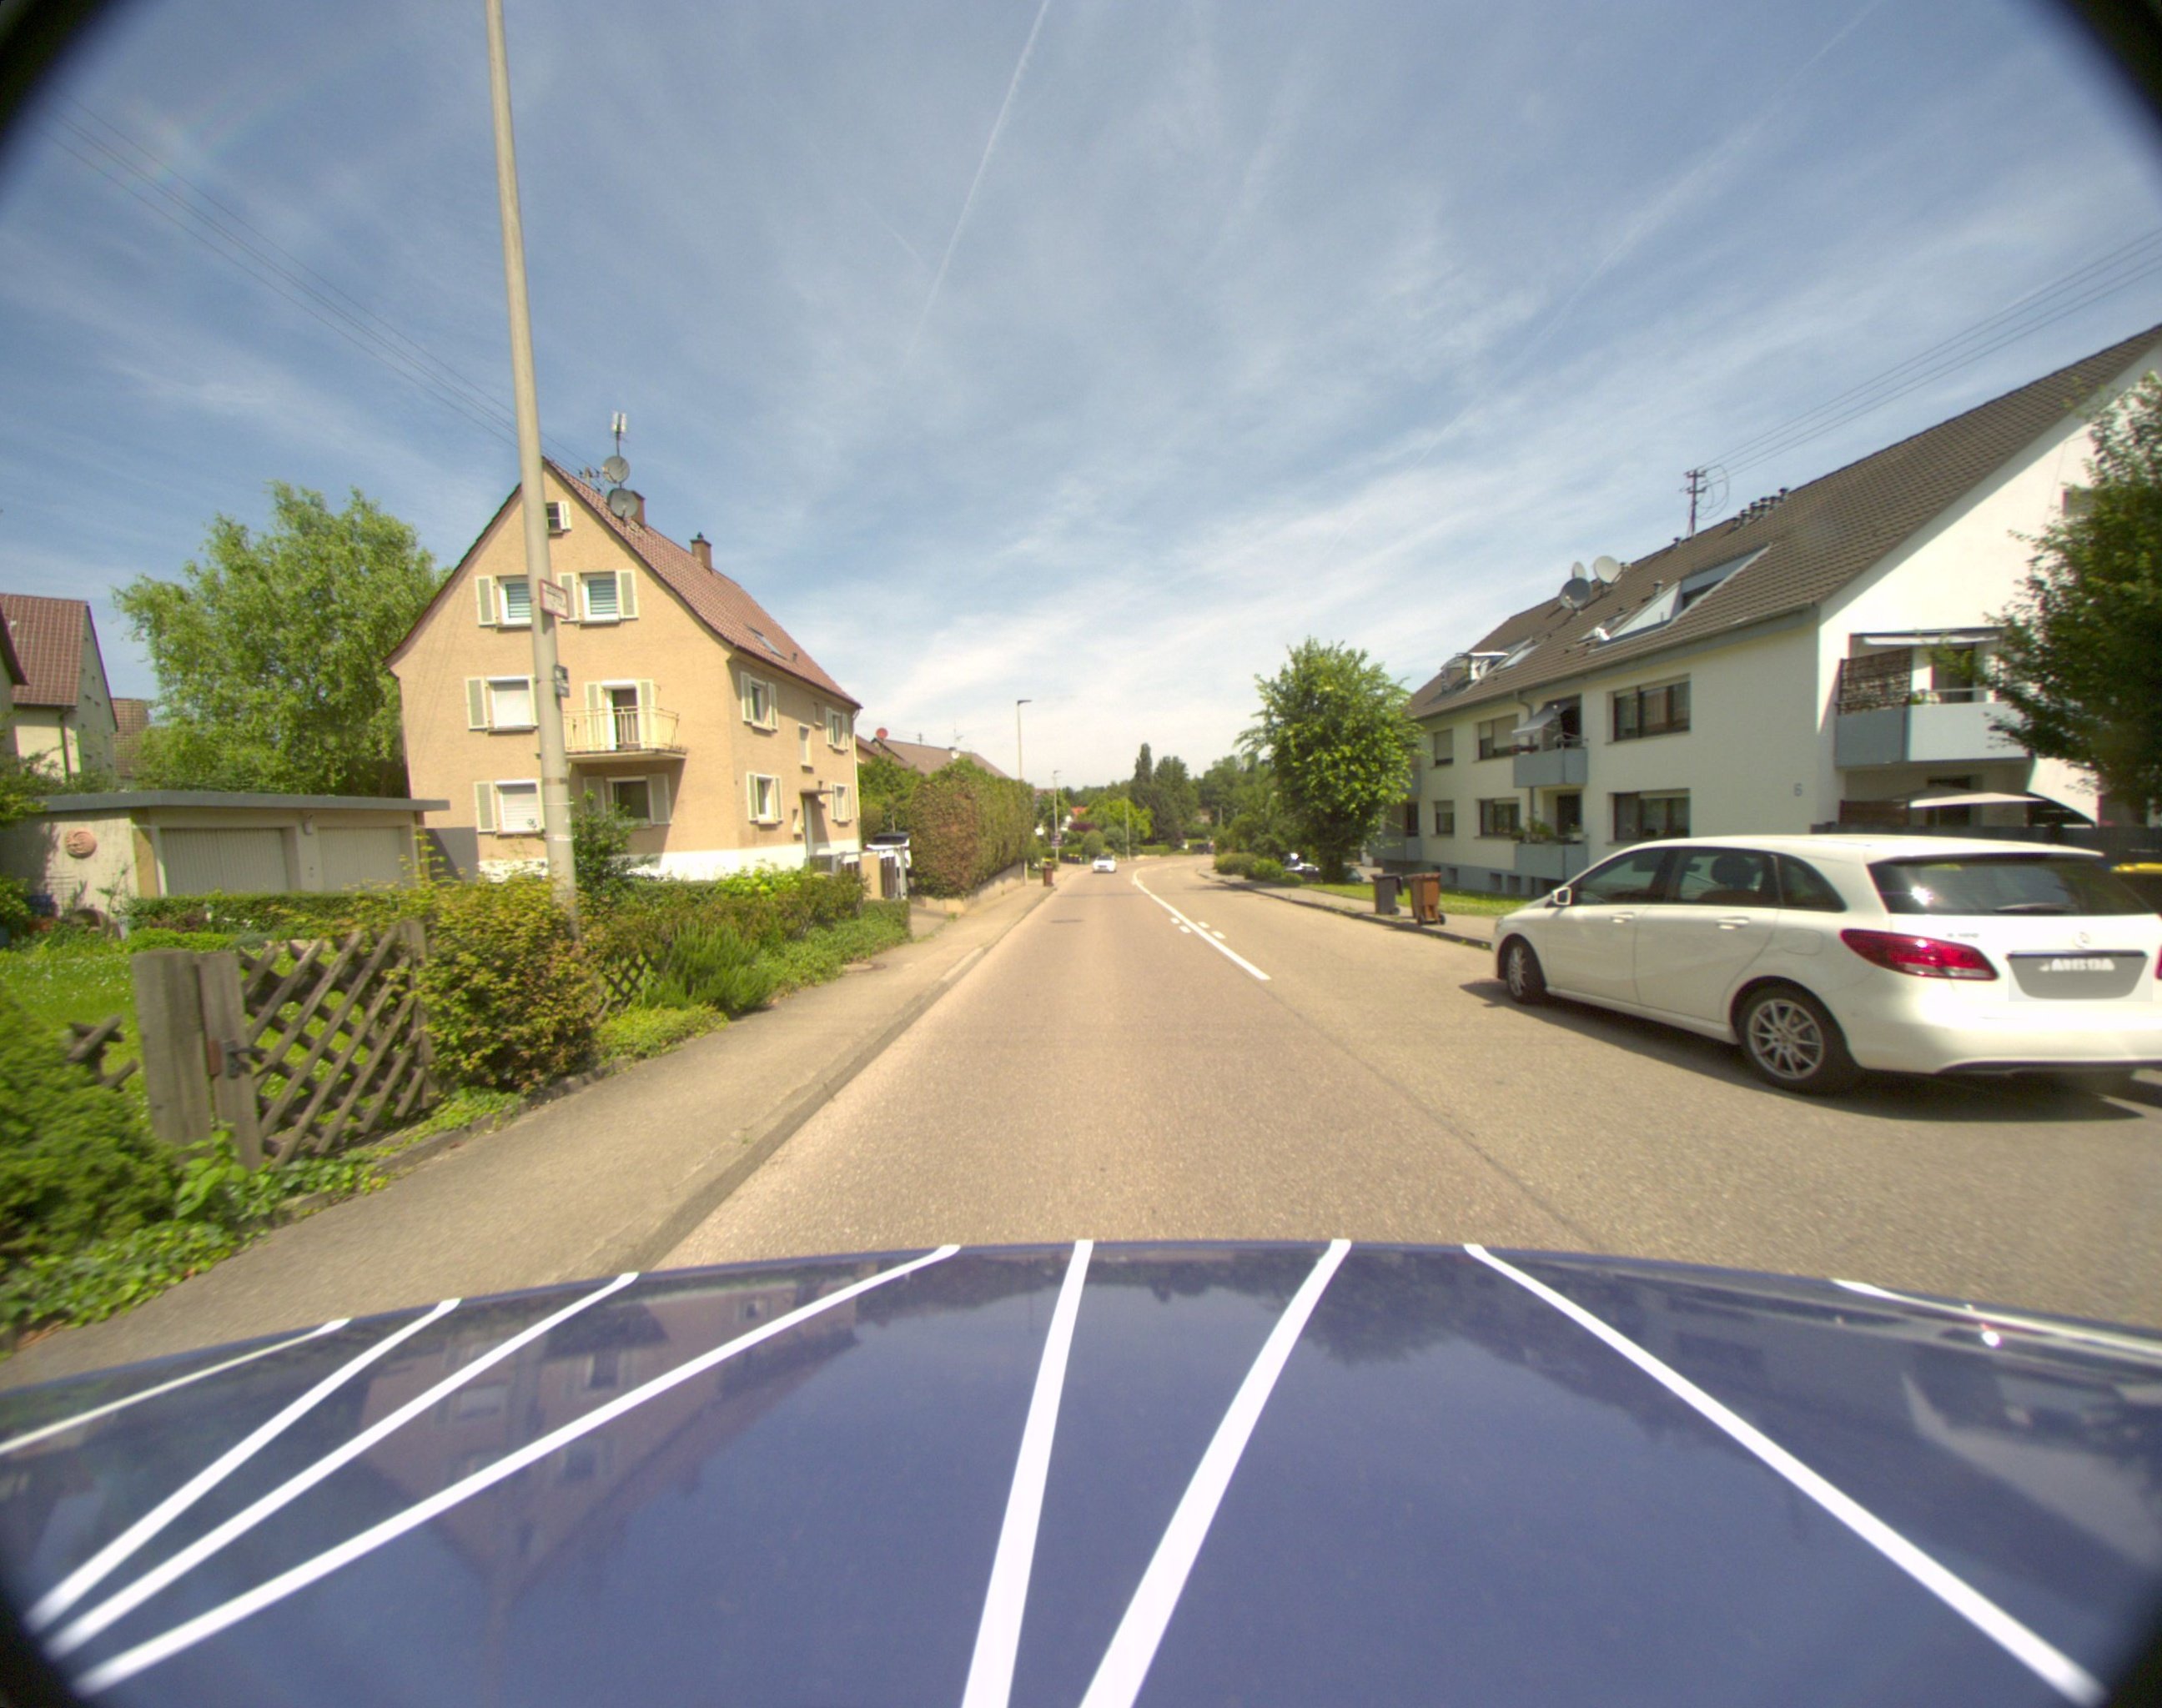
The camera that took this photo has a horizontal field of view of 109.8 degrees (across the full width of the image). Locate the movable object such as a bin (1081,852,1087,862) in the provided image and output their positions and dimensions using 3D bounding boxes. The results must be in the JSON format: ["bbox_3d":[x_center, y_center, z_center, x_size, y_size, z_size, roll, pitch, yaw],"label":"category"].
[{"bbox_3d":[0.292,0.349,85.819,0.485,1.064,0.565,-1,1,22],"label":"movable object such as a bin"}]

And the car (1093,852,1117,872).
[{"bbox_3d":[1.987,0.632,63.786,1.826,1.543,3.999,-2,1,-1],"label":"car"}]

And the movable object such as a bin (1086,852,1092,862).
[{"bbox_3d":[0.923,0.292,85.625,0.485,1.101,0.565,-1,1,15],"label":"movable object such as a bin"}]

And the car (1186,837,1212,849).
[{"bbox_3d":[20.039,-1.863,129.046,3.900,1.938,1.959,-1,1,34],"label":"car"}]

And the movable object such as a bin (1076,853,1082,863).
[{"bbox_3d":[-0.242,0.447,86.065,0.484,1.016,0.565,2,3,22],"label":"movable object such as a bin"}]

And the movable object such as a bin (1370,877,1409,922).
[{"bbox_3d":[6.613,0.974,16.320,0.620,0.912,0.686,-1,1,8],"label":"movable object such as a bin"}]

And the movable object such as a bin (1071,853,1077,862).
[{"bbox_3d":[-0.847,0.440,86.284,0.484,1.016,0.565,2,3,22],"label":"movable object such as a bin"}]

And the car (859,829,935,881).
[{"bbox_3d":[-6.167,-0.018,25.872,1.609,1.474,3.557,-2,4,1],"label":"car"}]

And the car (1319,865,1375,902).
[{"bbox_3d":[13.303,1.434,38.180,1.475,1.532,3.230,-1,3,-5],"label":"car"}]

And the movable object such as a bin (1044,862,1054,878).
[{"bbox_3d":[-2.224,1.101,53.016,0.589,1.053,0.919,-1,1,4],"label":"movable object such as a bin"}]

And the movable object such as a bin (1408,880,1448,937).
[{"bbox_3d":[6.282,0.985,13.769,0.507,0.982,0.563,-1,1,8],"label":"movable object such as a bin"}]

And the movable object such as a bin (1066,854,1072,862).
[{"bbox_3d":[-1.379,0.468,86.495,0.449,0.950,0.516,-1,1,19],"label":"movable object such as a bin"}]

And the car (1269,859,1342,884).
[{"bbox_3d":[13.791,1.079,46.847,3.966,1.240,1.646,3,1,1],"label":"car"}]

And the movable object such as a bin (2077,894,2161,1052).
[{"bbox_3d":[8.011,0.841,5.414,0.902,1.063,0.695,-2,1,1],"label":"movable object such as a bin"}]

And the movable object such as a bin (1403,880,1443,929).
[{"bbox_3d":[6.843,1.002,15.206,0.564,0.912,0.643,-1,1,8],"label":"movable object such as a bin"}]

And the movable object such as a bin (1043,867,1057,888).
[{"bbox_3d":[-1.476,1.107,36.377,0.589,0.972,0.786,0,1,1],"label":"movable object such as a bin"}]

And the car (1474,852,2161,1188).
[{"bbox_3d":[5.012,0.784,5.732,1.816,1.540,4.242,-2,0,-1],"label":"car"}]
